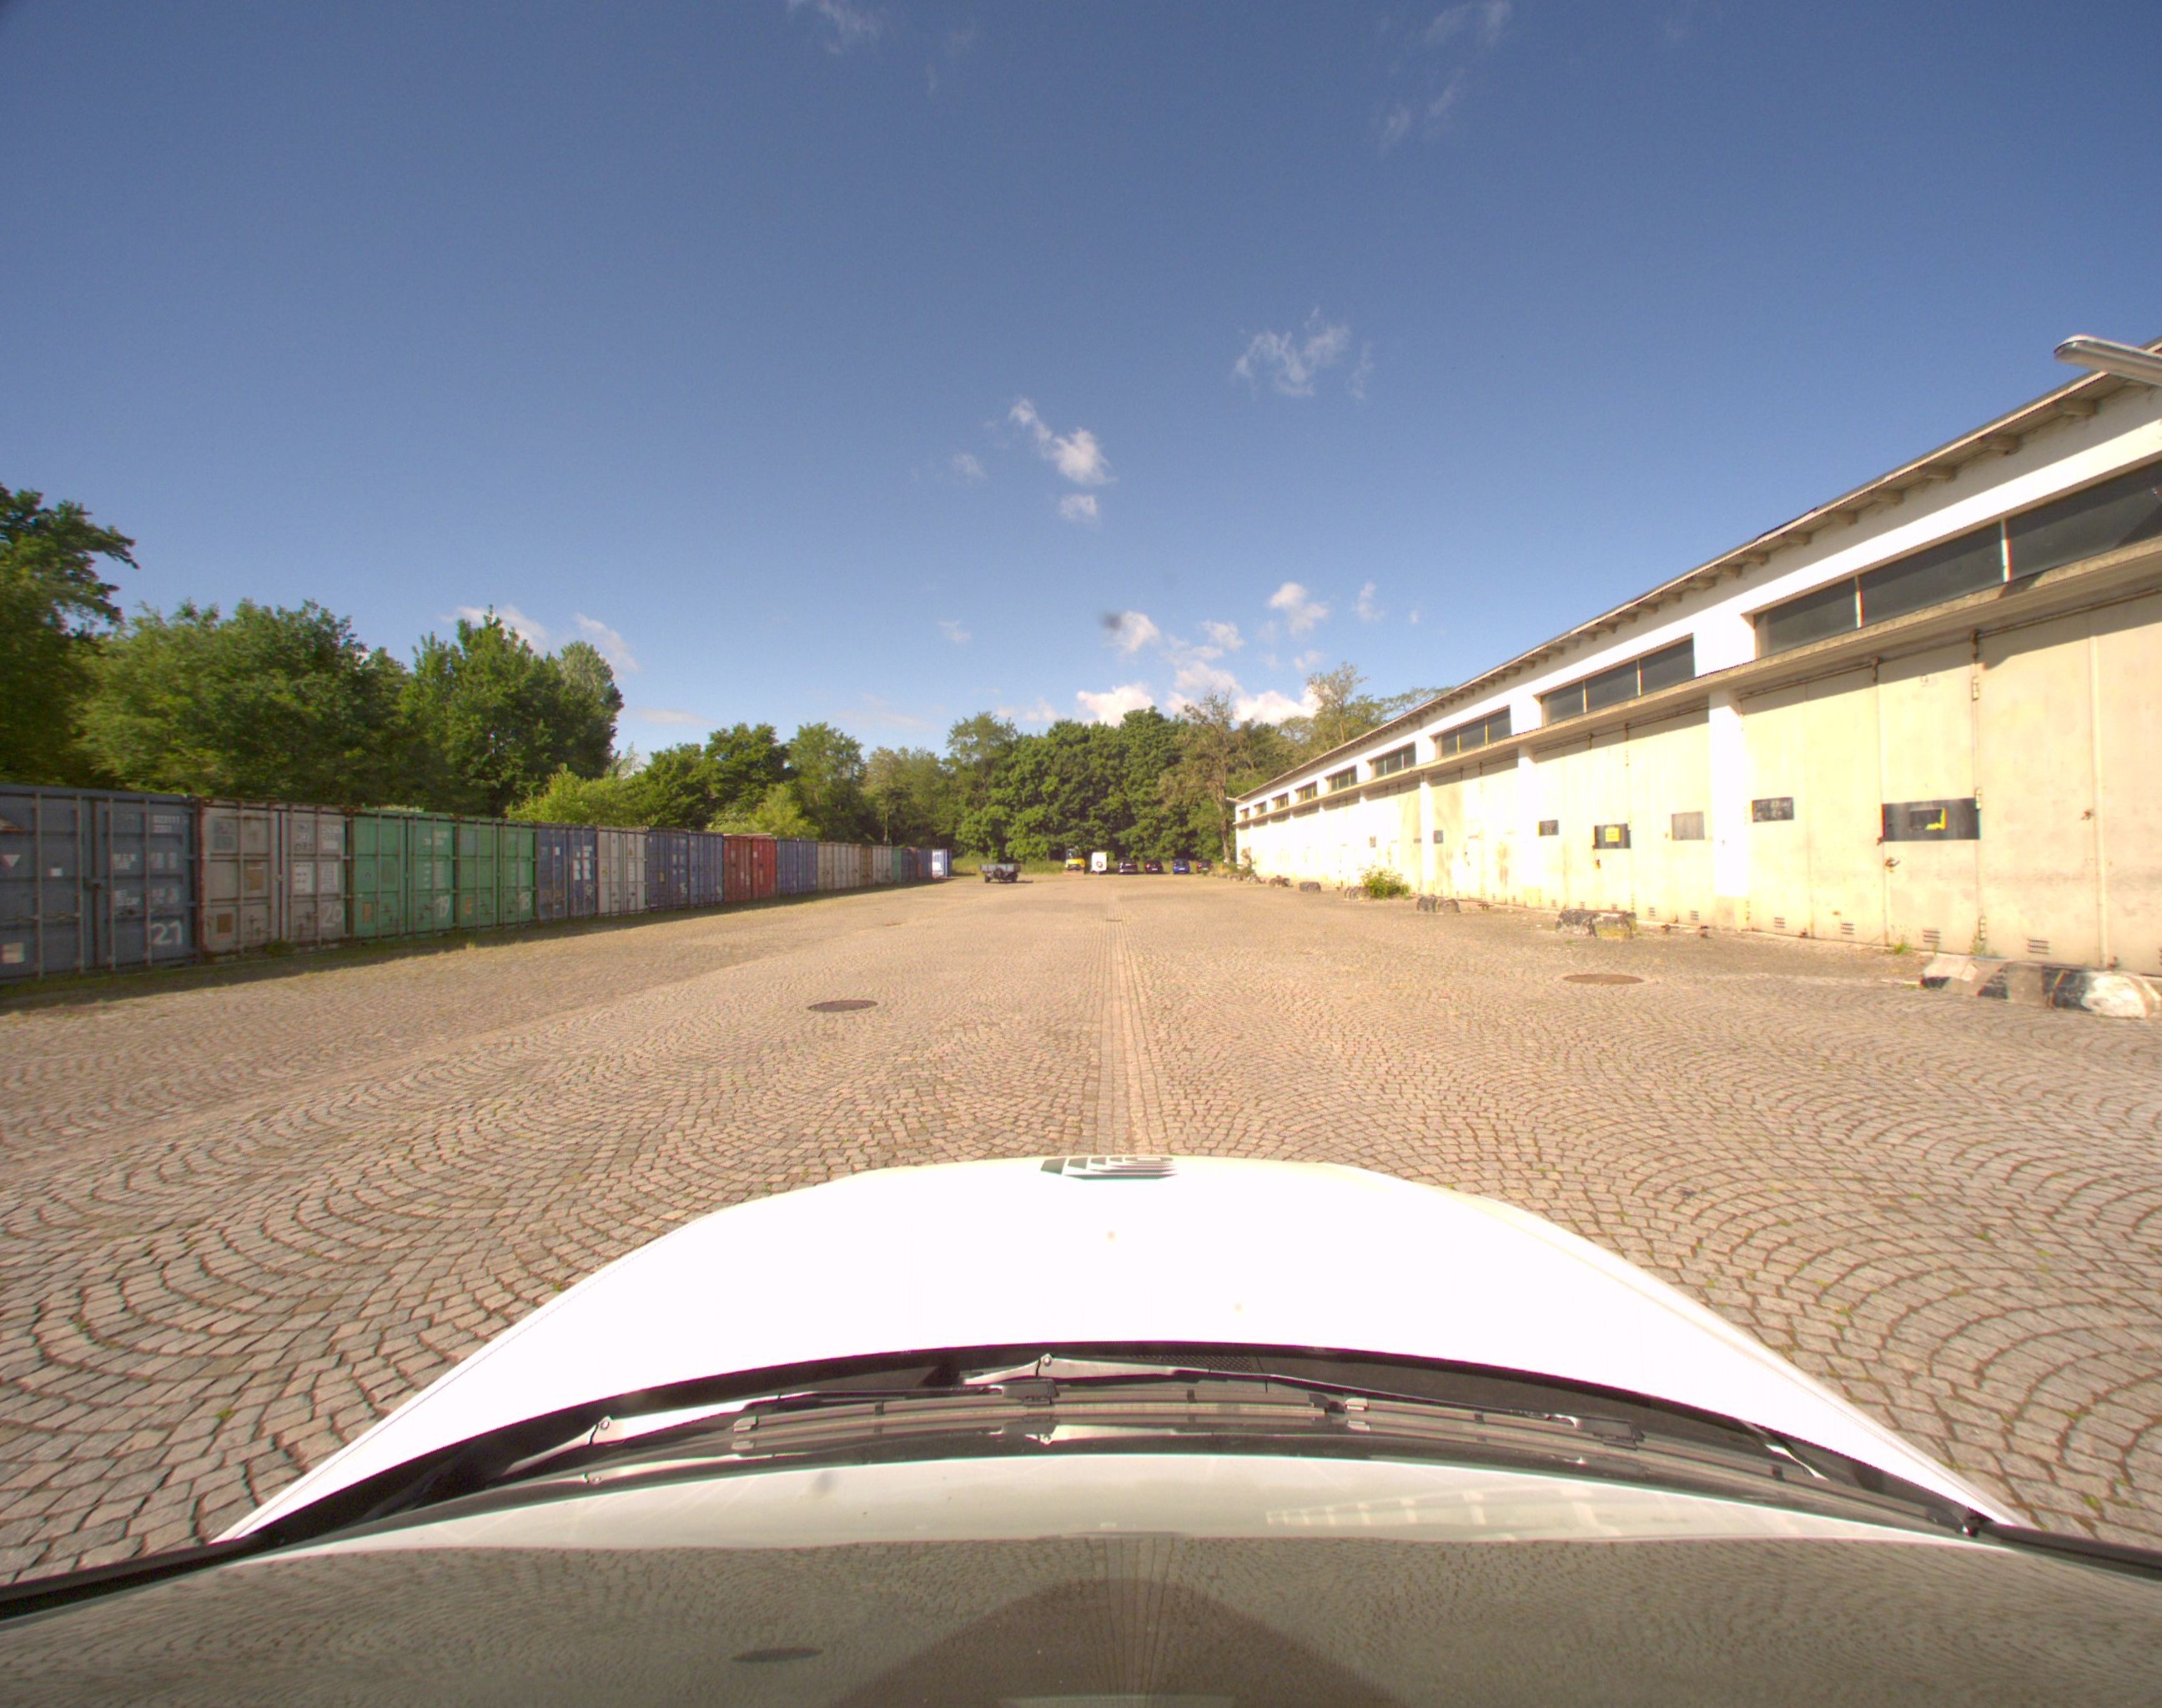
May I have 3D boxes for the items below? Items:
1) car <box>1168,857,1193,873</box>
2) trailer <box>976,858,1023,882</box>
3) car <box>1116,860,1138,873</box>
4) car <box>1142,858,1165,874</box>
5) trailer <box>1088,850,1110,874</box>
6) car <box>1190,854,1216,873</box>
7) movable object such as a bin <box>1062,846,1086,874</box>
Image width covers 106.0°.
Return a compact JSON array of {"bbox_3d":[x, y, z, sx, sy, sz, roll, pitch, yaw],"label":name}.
[{"bbox_3d":[9.497,1.035,78.259,1.986,1.466,4.001,-1,-1,2],"label":"car"},{"bbox_3d":[-6.003,1.179,60.911,2.781,1.646,5.621,-1,-1,1],"label":"trailer"},{"bbox_3d":[4.385,1.185,78.009,1.986,1.258,4.001,-1,-1,2],"label":"car"},{"bbox_3d":[6.916,1.119,78.327,1.986,1.424,4.001,-1,-1,2],"label":"car"},{"bbox_3d":[1.761,0.766,79.308,1.986,2.162,4.433,-1,-1,1],"label":"trailer"},{"bbox_3d":[11.891,0.884,79.452,1.986,1.772,4.001,-1,-1,2],"label":"car"},{"bbox_3d":[-0.671,0.549,80.124,2.225,2.657,3.999,-1,0,-1],"label":"movable object such as a bin"}]
